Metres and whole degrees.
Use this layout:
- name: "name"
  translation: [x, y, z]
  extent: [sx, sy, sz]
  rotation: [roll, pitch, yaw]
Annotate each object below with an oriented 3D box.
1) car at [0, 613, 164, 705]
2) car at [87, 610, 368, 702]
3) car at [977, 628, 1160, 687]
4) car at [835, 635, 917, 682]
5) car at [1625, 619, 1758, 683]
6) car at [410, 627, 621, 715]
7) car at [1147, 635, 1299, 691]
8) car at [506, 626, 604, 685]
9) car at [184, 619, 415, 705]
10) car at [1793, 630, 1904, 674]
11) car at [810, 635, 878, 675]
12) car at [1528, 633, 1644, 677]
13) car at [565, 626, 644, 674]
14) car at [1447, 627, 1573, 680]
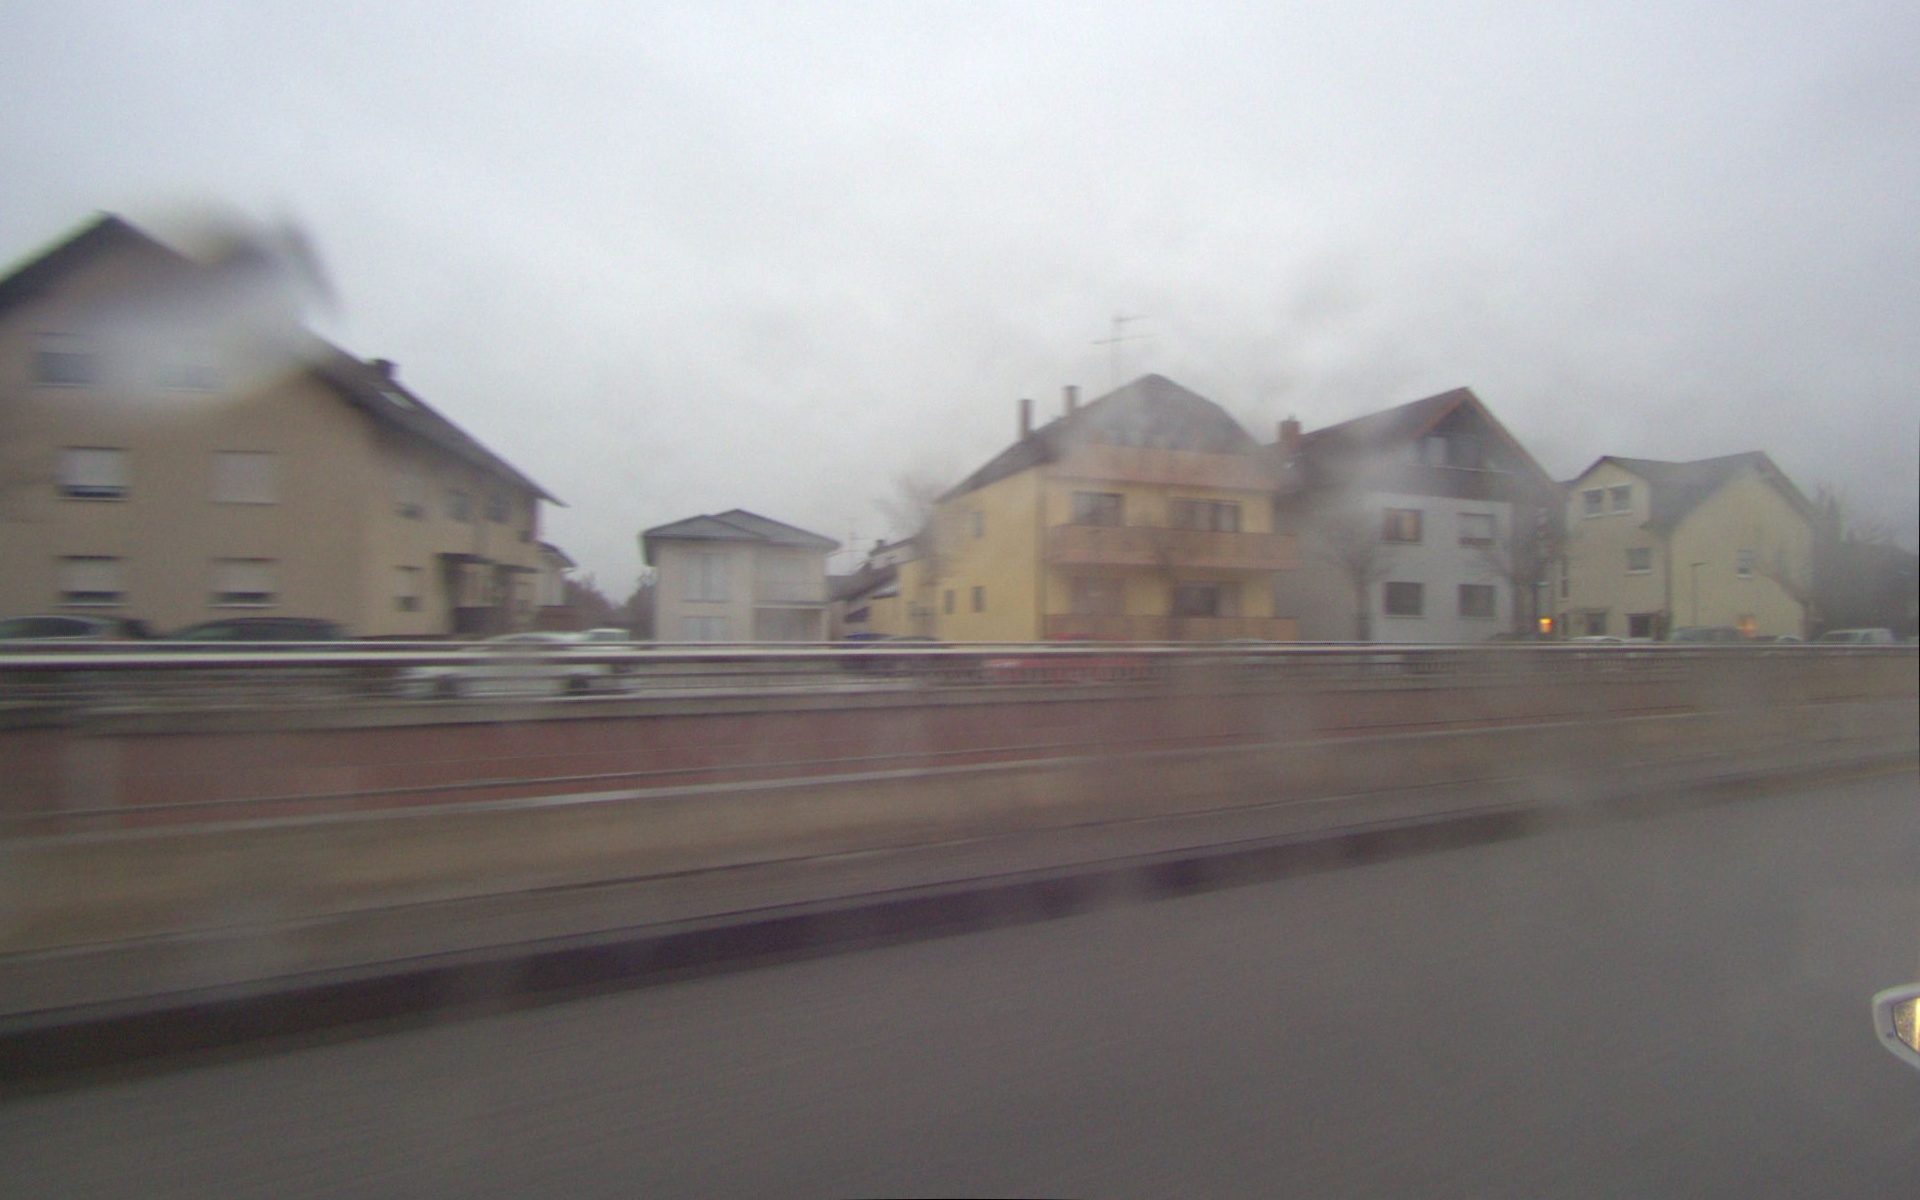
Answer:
- name: "car"
  translation: [-18.291, 1.121, 19.669]
  extent: [3.951, 1.669, 1.827]
  rotation: [1, 0, -29]
- name: "car"
  translation: [-13.695, 1.047, 19.102]
  extent: [3.945, 1.538, 1.891]
  rotation: [2, 0, -25]
- name: "car"
  translation: [2.922, 1.514, 27.017]
  extent: [4.582, 1.461, 1.872]
  rotation: [1, -1, -23]
- name: "car"
  translation: [-3.028, 2.024, 35.427]
  extent: [1.969, 1.463, 3.983]
  rotation: [1, -1, -19]
- name: "car"
  translation: [22.403, 1.552, 30.750]
  extent: [3.812, 1.827, 1.793]
  rotation: [2, -2, -28]
- name: "car"
  translation: [-9.389, 1.438, 21.399]
  extent: [3.930, 1.646, 1.811]
  rotation: [1, 1, -25]
- name: "car"
  translation: [7.739, 1.807, 29.577]
  extent: [4.086, 1.525, 1.872]
  rotation: [1, -1, -24]
- name: "car"
  translation: [-12.420, 1.667, 31.052]
  extent: [1.779, 1.544, 4.036]
  rotation: [1, 0, -7]
- name: "car"
  translation: [-14.113, 1.284, 21.746]
  extent: [3.948, 1.669, 1.804]
  rotation: [1, 0, -27]
- name: "car"
  translation: [38.956, 2.265, 44.039]
  extent: [4.437, 1.802, 1.870]
  rotation: [0, -3, -23]
- name: "car"
  translation: [-4.838, 2.229, 41.423]
  extent: [1.969, 1.463, 3.983]
  rotation: [1, -1, -19]
- name: "car"
  translation: [23.235, 2.030, 37.291]
  extent: [3.976, 1.543, 1.764]
  rotation: [1, -2, -24]
- name: "car"
  translation: [-13.073, 1.809, 37.170]
  extent: [1.963, 1.565, 3.995]
  rotation: [1, 0, -8]
- name: "car"
  translation: [19.239, 1.833, 35.148]
  extent: [3.945, 1.704, 1.853]
  rotation: [1, 0, -24]
